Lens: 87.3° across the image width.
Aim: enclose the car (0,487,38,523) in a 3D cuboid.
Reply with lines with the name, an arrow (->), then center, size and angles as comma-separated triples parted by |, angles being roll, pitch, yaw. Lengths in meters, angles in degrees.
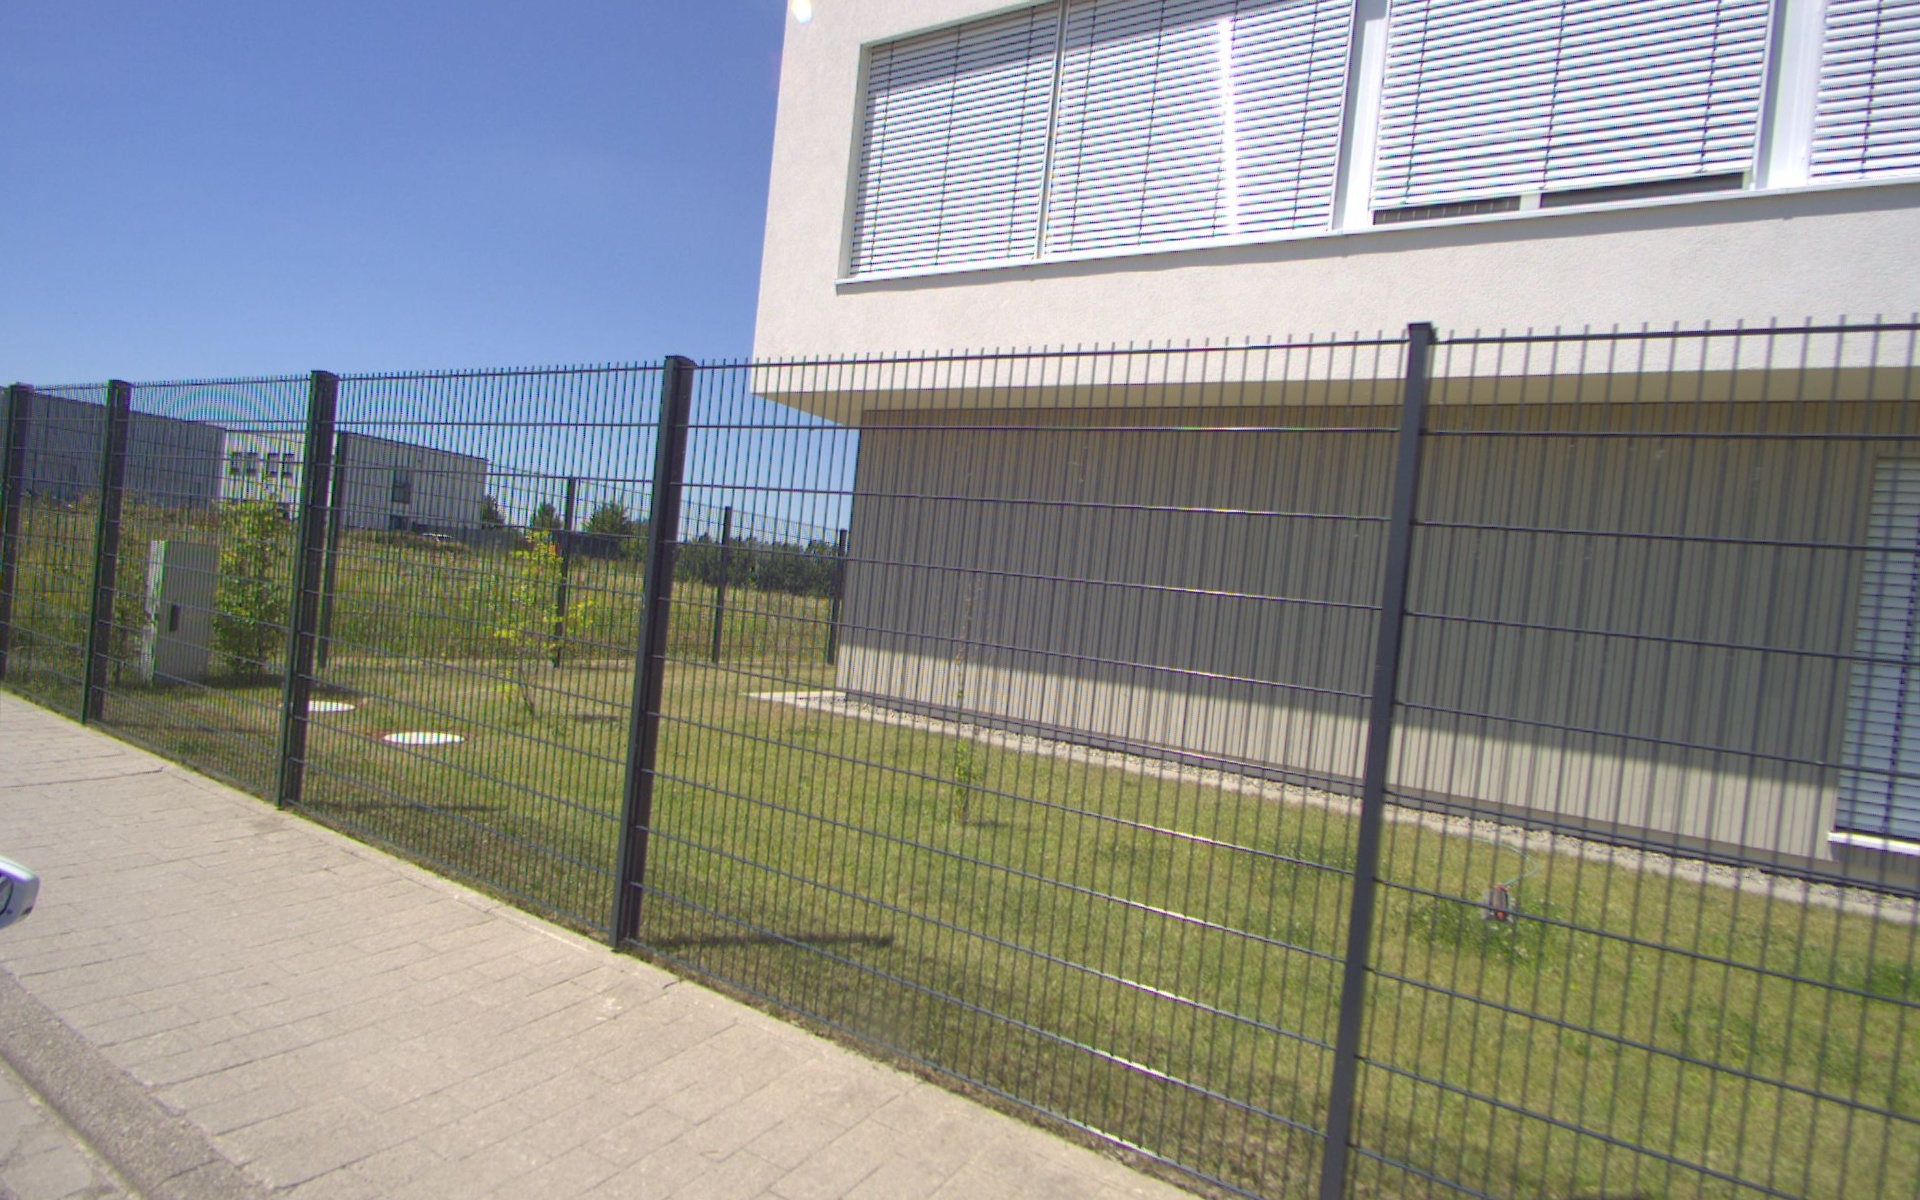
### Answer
car -> -43.704, -4.397, 45.819 | 3.481, 1.415, 1.516 | 6, 0, 31
